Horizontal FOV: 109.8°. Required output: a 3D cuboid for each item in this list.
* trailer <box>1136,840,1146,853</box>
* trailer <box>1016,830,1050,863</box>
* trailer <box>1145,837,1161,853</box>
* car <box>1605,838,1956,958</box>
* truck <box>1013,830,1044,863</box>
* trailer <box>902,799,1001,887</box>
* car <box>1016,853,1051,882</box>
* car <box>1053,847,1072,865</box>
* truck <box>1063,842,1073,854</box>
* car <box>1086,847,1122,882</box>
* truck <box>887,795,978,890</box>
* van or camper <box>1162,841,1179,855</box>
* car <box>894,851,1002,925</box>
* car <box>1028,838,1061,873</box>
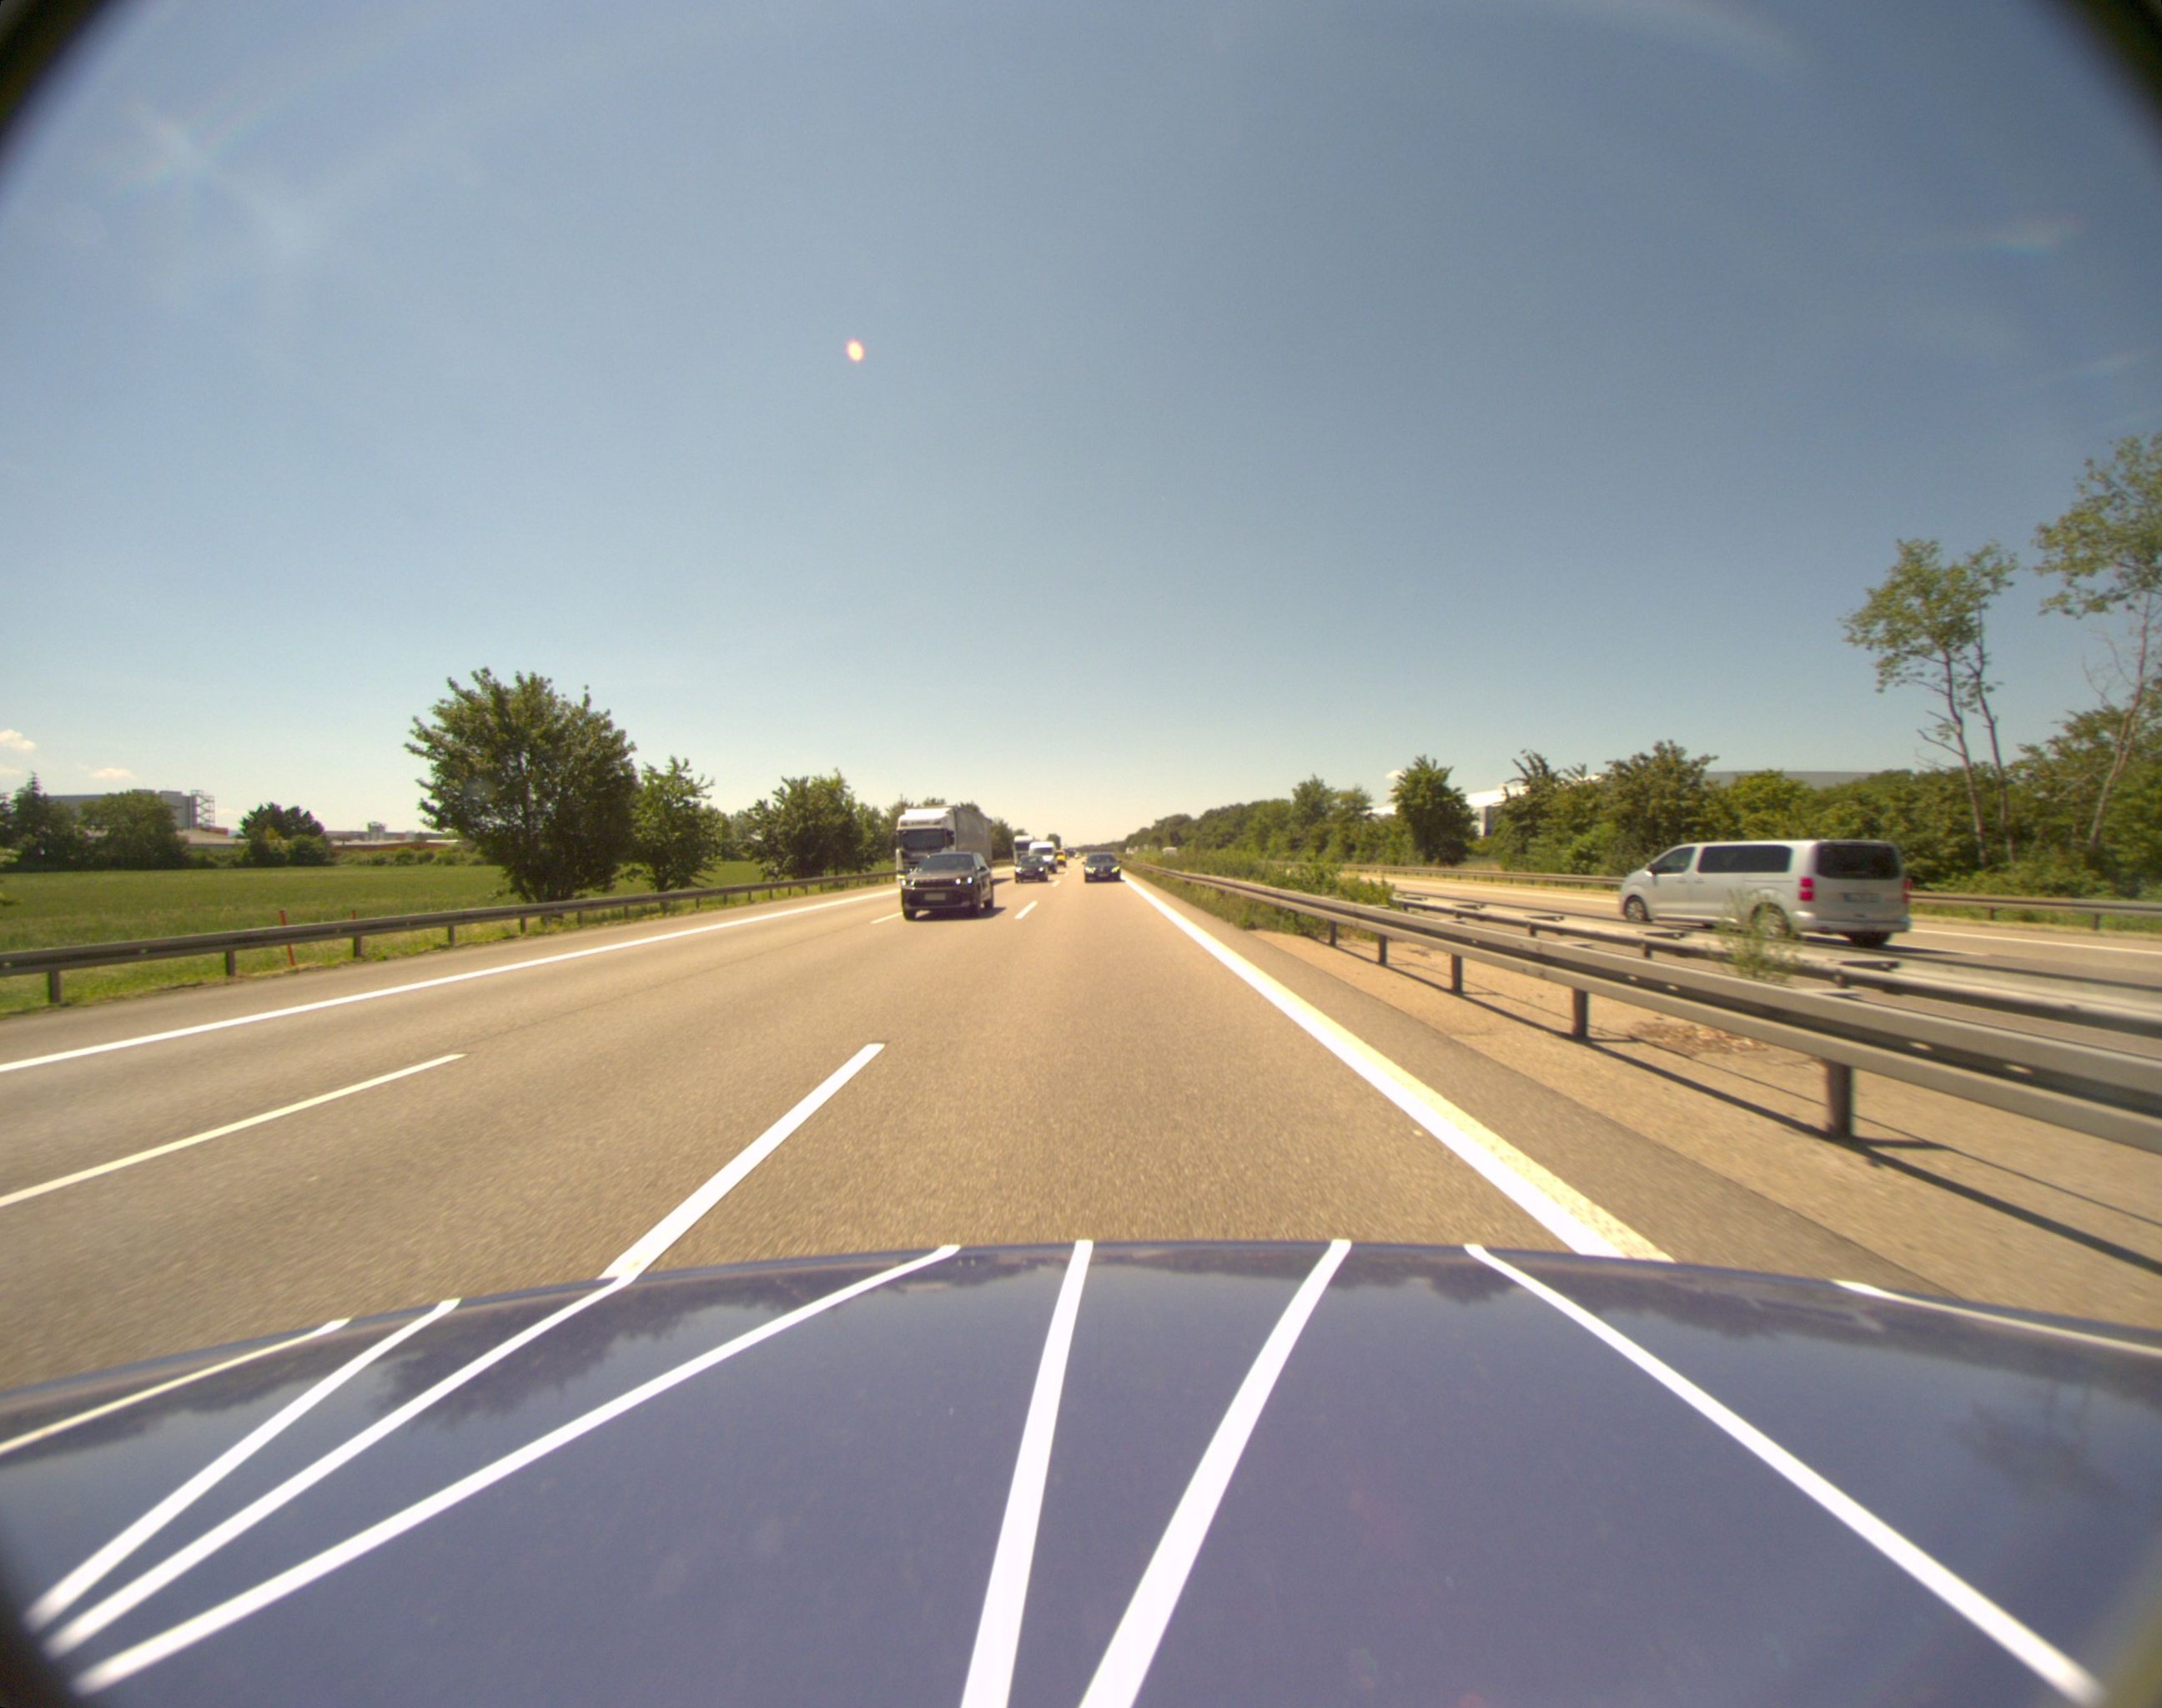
[{"bbox_3d":[20.806,-2.594,265.341,2.764,4.079,14.052,1,0,1],"label":"trailer"},{"bbox_3d":[-6.227,-0.945,101.420,2.699,3.943,13.963,-2,0,3],"label":"trailer"},{"bbox_3d":[19.643,-2.500,207.686,2.985,4.188,13.730,0,2,0],"label":"trailer"},{"bbox_3d":[13.162,0.700,14.957,2.046,1.913,5.227,1,0,0],"label":"car"},{"bbox_3d":[-6.565,-0.917,95.822,2.699,3.943,7.705,-2,0,3],"label":"truck"},{"bbox_3d":[-7.173,-0.593,44.820,2.816,4.279,14.254,-2,0,2],"label":"trailer"},{"bbox_3d":[-2.580,0.711,42.002,1.692,1.465,3.432,-2,0,0],"label":"car"},{"bbox_3d":[-2.024,0.196,85.726,1.958,1.939,4.000,-2,1,0],"label":"car"},{"bbox_3d":[-4.230,-1.811,243.697,2.976,3.626,7.148,-2,1,-2],"label":"truck"},{"bbox_3d":[1.184,0.503,39.224,1.690,1.646,3.462,-2,1,2],"label":"car"},{"bbox_3d":[-7.359,-0.541,38.759,2.816,4.279,7.193,-2,1,2],"label":"truck"},{"bbox_3d":[19.234,-1.335,163.396,2.857,2.952,7.446,1,1,1],"label":"van or camper"},{"bbox_3d":[-3.414,0.807,20.486,1.871,1.665,4.746,-2,0,2],"label":"car"},{"bbox_3d":[-2.744,0.081,59.228,2.159,2.494,5.945,-2,1,0],"label":"car"}]
